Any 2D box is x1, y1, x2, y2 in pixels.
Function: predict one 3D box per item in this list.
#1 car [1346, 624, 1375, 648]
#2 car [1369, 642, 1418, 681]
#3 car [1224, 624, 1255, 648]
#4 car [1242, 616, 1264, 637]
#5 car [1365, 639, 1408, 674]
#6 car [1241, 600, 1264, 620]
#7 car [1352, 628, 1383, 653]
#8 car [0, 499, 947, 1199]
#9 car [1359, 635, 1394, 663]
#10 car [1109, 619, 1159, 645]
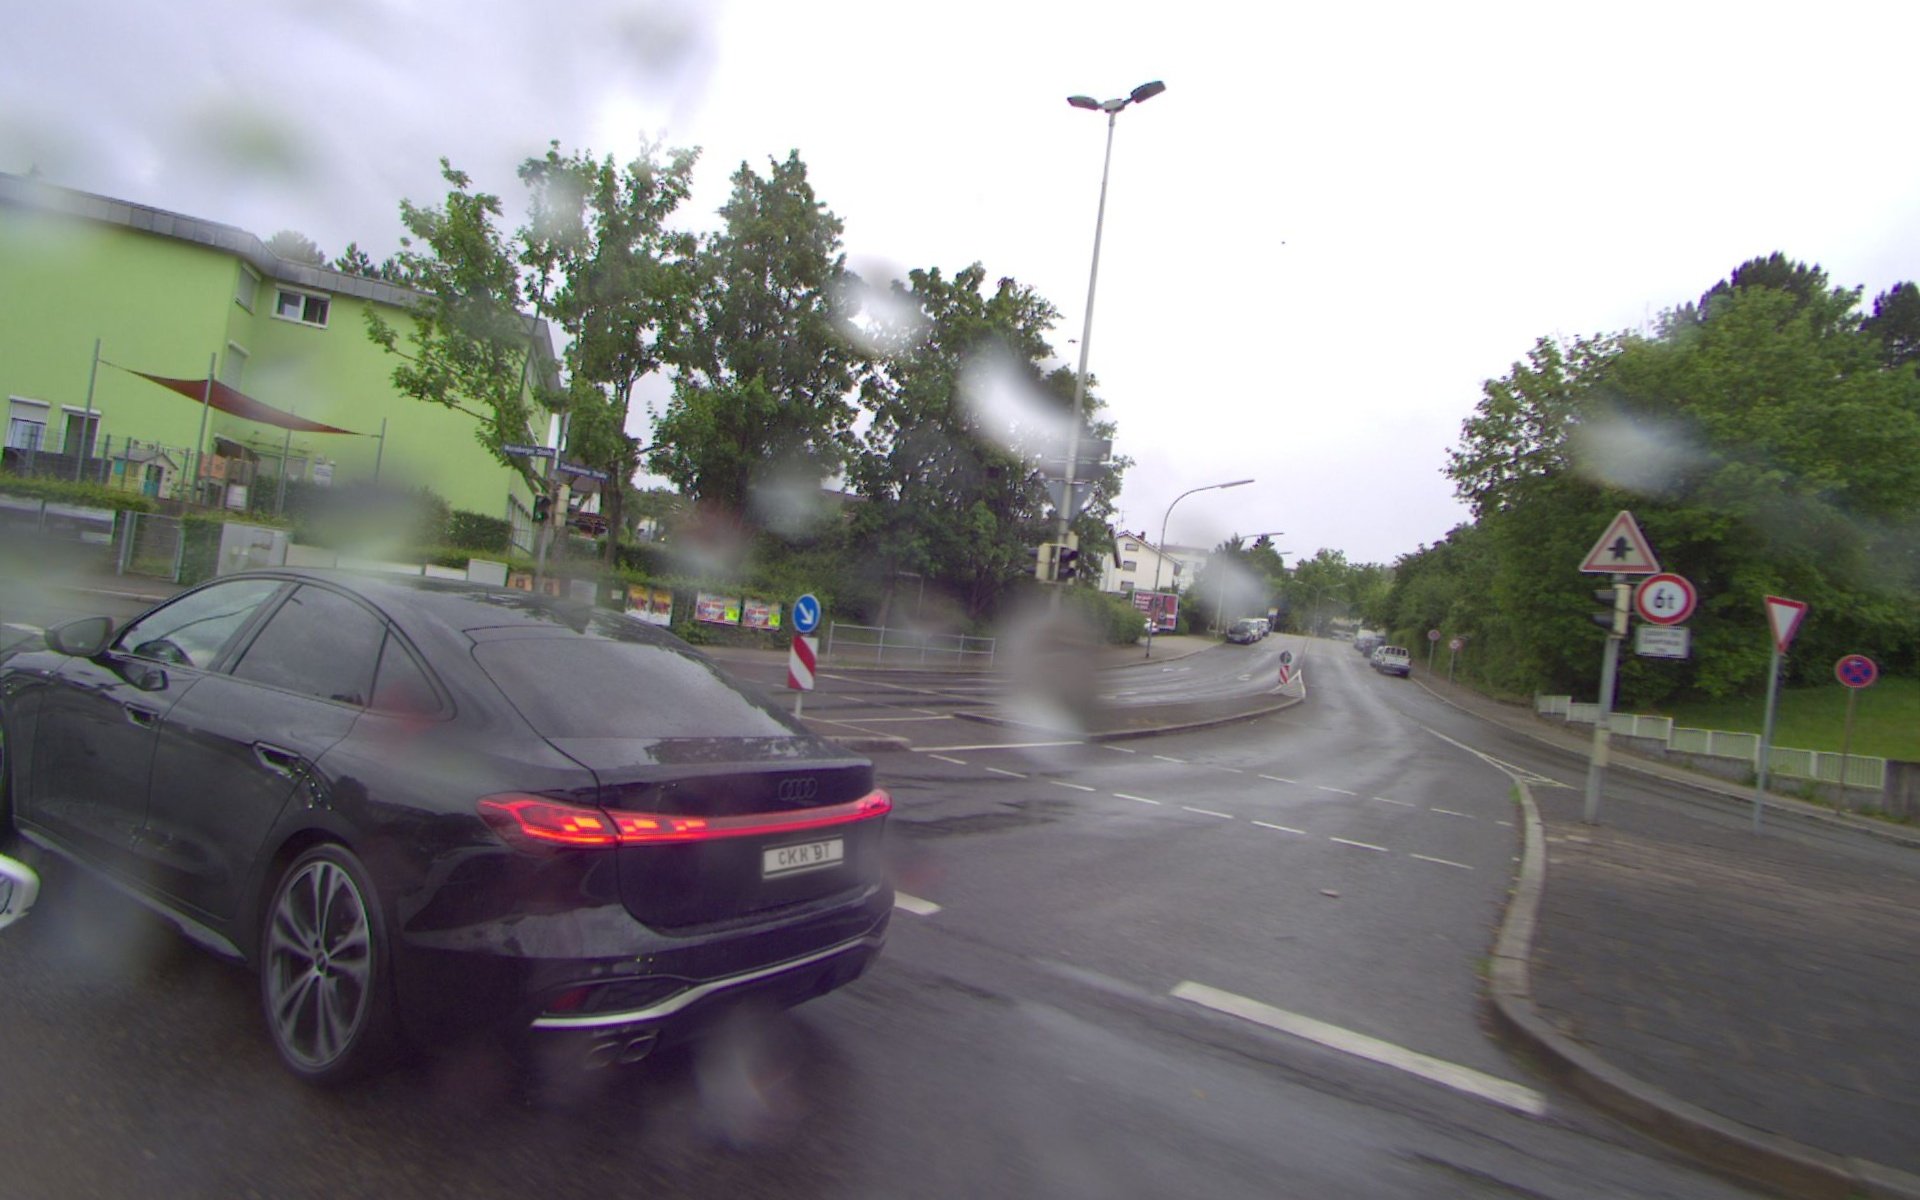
[{"bbox_3d":[40.617,3.633,102.169,1.963,1.684,3.994,12,6,15],"label":"car"},{"bbox_3d":[27.260,3.834,63.380,1.963,1.684,3.994,12,6,15],"label":"car"},{"bbox_3d":[23.233,2.958,83.609,1.963,1.527,3.996,12,4,19],"label":"car"},{"bbox_3d":[34.001,3.042,116.683,1.963,2.049,3.996,12,4,19],"label":"car"},{"bbox_3d":[29.684,3.901,70.143,1.963,1.684,3.994,12,6,15],"label":"car"},{"bbox_3d":[32.180,1.105,110.682,1.963,1.748,3.996,12,4,19],"label":"car"},{"bbox_3d":[39.120,3.850,96.710,1.963,1.684,3.994,12,6,15],"label":"car"},{"bbox_3d":[-2.453,0.547,4.208,4.433,1.443,1.710,7,-2,31],"label":"car"},{"bbox_3d":[35.535,4.140,86.004,1.963,1.684,3.994,12,6,15],"label":"car"},{"bbox_3d":[13.699,2.514,78.979,3.650,1.838,1.841,2,-1,15],"label":"car"}]
